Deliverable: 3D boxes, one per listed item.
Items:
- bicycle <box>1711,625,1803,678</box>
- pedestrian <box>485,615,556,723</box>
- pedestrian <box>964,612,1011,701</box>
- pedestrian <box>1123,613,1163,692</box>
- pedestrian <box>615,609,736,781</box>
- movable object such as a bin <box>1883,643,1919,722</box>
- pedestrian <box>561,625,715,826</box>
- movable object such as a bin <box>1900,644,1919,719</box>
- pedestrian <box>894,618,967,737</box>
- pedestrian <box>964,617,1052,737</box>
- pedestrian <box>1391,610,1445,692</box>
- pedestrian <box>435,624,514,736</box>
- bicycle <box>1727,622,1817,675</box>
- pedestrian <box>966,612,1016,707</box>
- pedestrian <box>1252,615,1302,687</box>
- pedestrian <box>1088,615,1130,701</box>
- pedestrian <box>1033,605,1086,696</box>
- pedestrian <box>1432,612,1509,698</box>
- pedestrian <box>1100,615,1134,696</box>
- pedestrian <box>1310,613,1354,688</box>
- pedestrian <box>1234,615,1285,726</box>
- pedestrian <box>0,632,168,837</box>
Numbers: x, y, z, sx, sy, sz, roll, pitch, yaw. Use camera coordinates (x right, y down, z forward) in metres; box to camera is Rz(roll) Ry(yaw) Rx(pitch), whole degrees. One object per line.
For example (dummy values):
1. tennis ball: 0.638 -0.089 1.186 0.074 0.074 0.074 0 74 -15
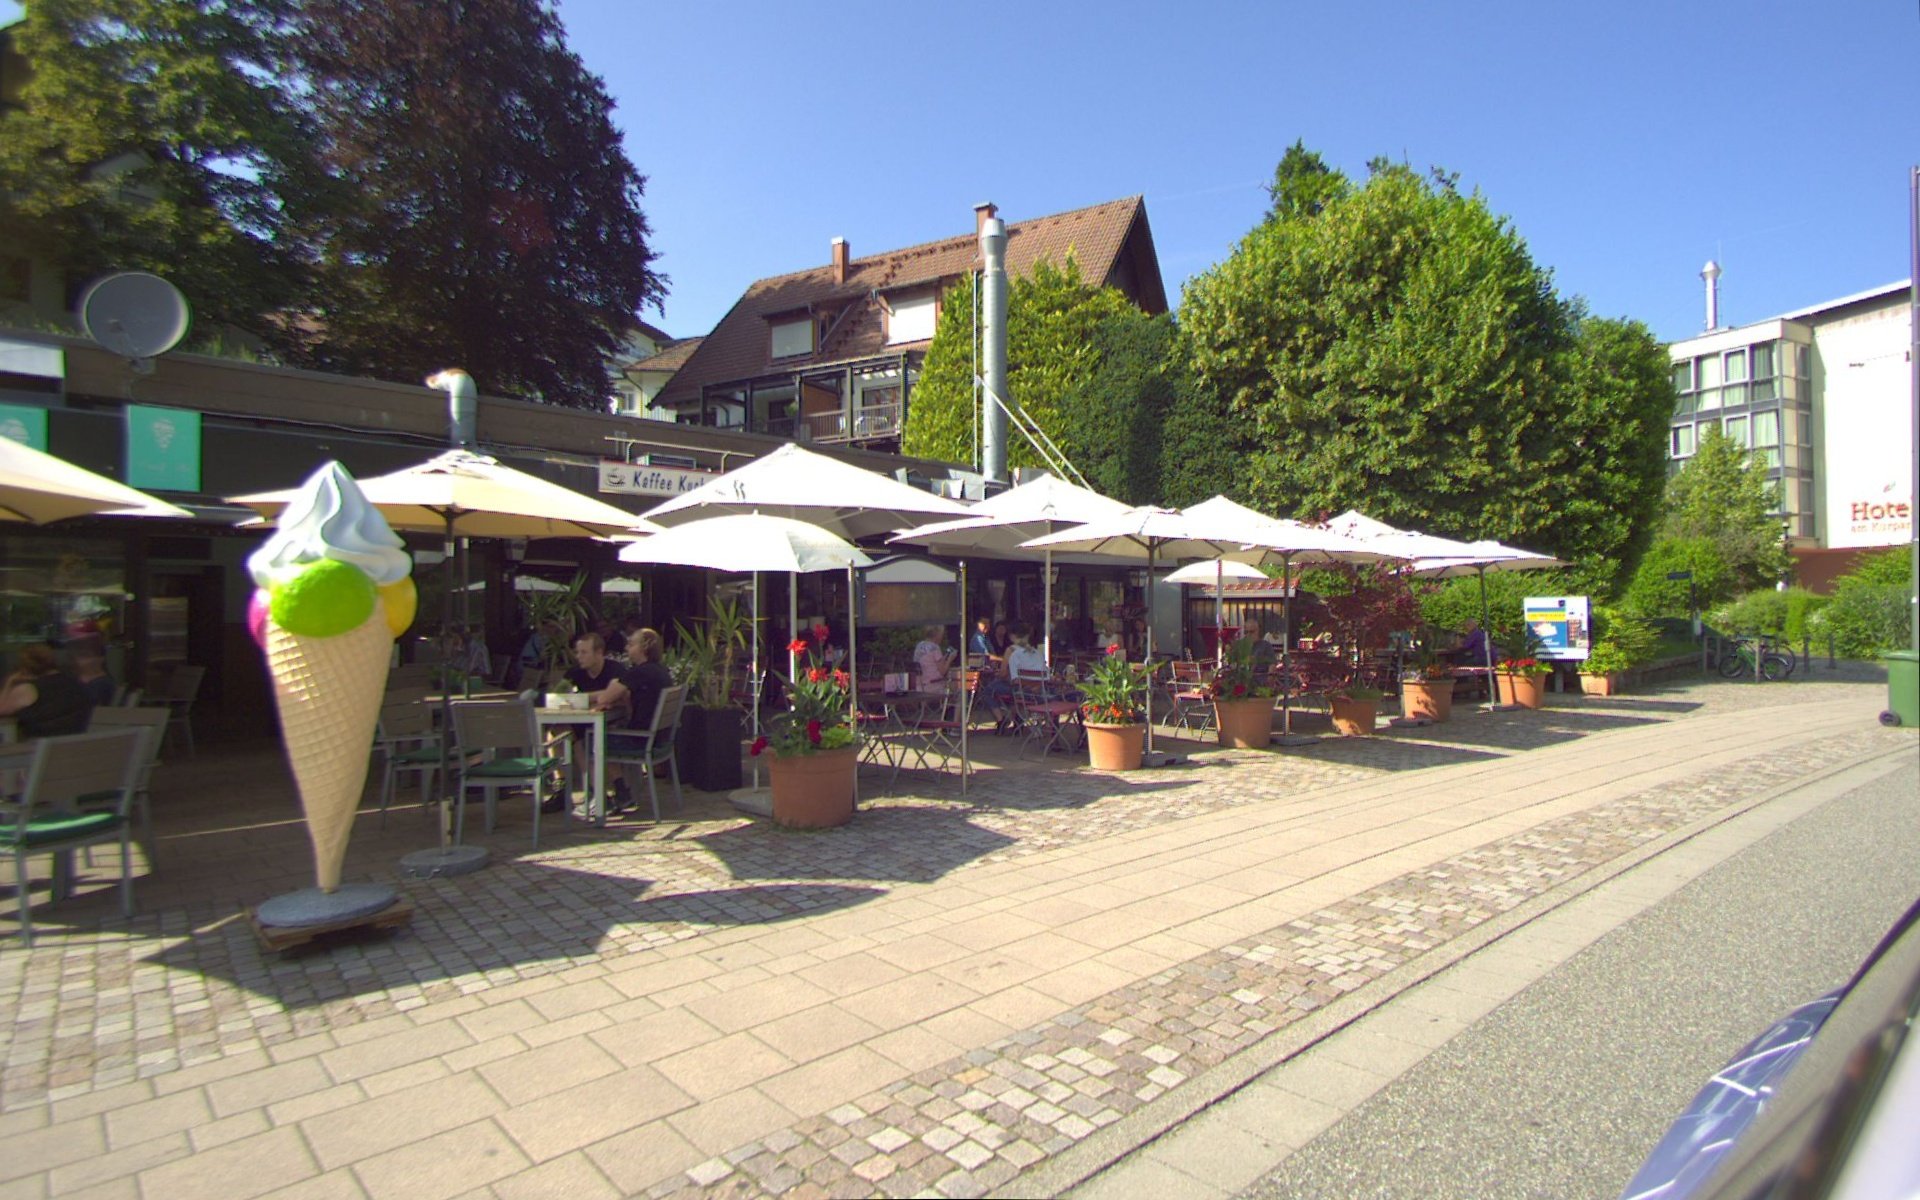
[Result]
1. bicycle: 15.957 1.012 20.314 0.376 0.920 1.551 2 1 -11
2. pedestrian: -5.554 0.859 12.816 0.624 1.316 0.688 0 0 -5
3. pedestrian: 0.416 0.843 15.346 0.628 1.298 0.579 1 0 9
4. pedestrian: 3.062 0.871 16.914 0.499 1.284 0.409 1 0 -34
5. pedestrian: -2.452 0.779 8.789 0.690 1.399 0.808 0 0 15
6. movable object such as a bin: 11.723 1.005 12.373 0.510 0.937 0.549 1 -1 -34
7. pedestrian: -2.250 0.826 7.081 0.808 1.277 0.691 0 -1 37
8. movable object such as a bin: 12.191 1.026 12.682 0.433 0.924 0.515 1 -1 -34
9. pedestrian: -0.324 0.853 11.513 0.689 1.277 0.810 0 0 10
10. pedestrian: 0.532 0.838 11.403 0.686 1.277 0.813 0 0 -26
11. pedestrian: 7.631 0.832 16.869 0.647 1.300 0.635 1 0 44
12. pedestrian: -5.592 0.900 11.692 0.686 1.224 0.689 0 0 -13
13. bicycle: 16.844 0.991 21.039 0.376 0.995 1.551 1 1 -11
14. pedestrian: 0.448 0.836 14.500 0.628 1.321 0.579 1 0 9
15. pedestrian: 5.627 0.890 17.971 0.685 1.247 0.509 1 0 -25
16. pedestrian: 2.288 0.883 15.580 0.468 1.281 0.434 1 0 42
17. pedestrian: 1.498 0.742 15.175 0.529 1.321 0.600 1 0 43
18. pedestrian: 8.125 0.845 16.124 0.948 1.300 0.635 1 0 44
19. pedestrian: 2.482 0.870 16.004 0.383 1.247 0.471 1 0 -9
20. pedestrian: 6.469 0.868 17.625 0.584 1.253 0.508 1 0 5
21. pedestrian: 3.610 0.830 12.189 0.469 1.261 0.587 1 1 29
22. pedestrian: -5.994 0.867 6.854 0.795 1.277 0.702 0 0 -18
